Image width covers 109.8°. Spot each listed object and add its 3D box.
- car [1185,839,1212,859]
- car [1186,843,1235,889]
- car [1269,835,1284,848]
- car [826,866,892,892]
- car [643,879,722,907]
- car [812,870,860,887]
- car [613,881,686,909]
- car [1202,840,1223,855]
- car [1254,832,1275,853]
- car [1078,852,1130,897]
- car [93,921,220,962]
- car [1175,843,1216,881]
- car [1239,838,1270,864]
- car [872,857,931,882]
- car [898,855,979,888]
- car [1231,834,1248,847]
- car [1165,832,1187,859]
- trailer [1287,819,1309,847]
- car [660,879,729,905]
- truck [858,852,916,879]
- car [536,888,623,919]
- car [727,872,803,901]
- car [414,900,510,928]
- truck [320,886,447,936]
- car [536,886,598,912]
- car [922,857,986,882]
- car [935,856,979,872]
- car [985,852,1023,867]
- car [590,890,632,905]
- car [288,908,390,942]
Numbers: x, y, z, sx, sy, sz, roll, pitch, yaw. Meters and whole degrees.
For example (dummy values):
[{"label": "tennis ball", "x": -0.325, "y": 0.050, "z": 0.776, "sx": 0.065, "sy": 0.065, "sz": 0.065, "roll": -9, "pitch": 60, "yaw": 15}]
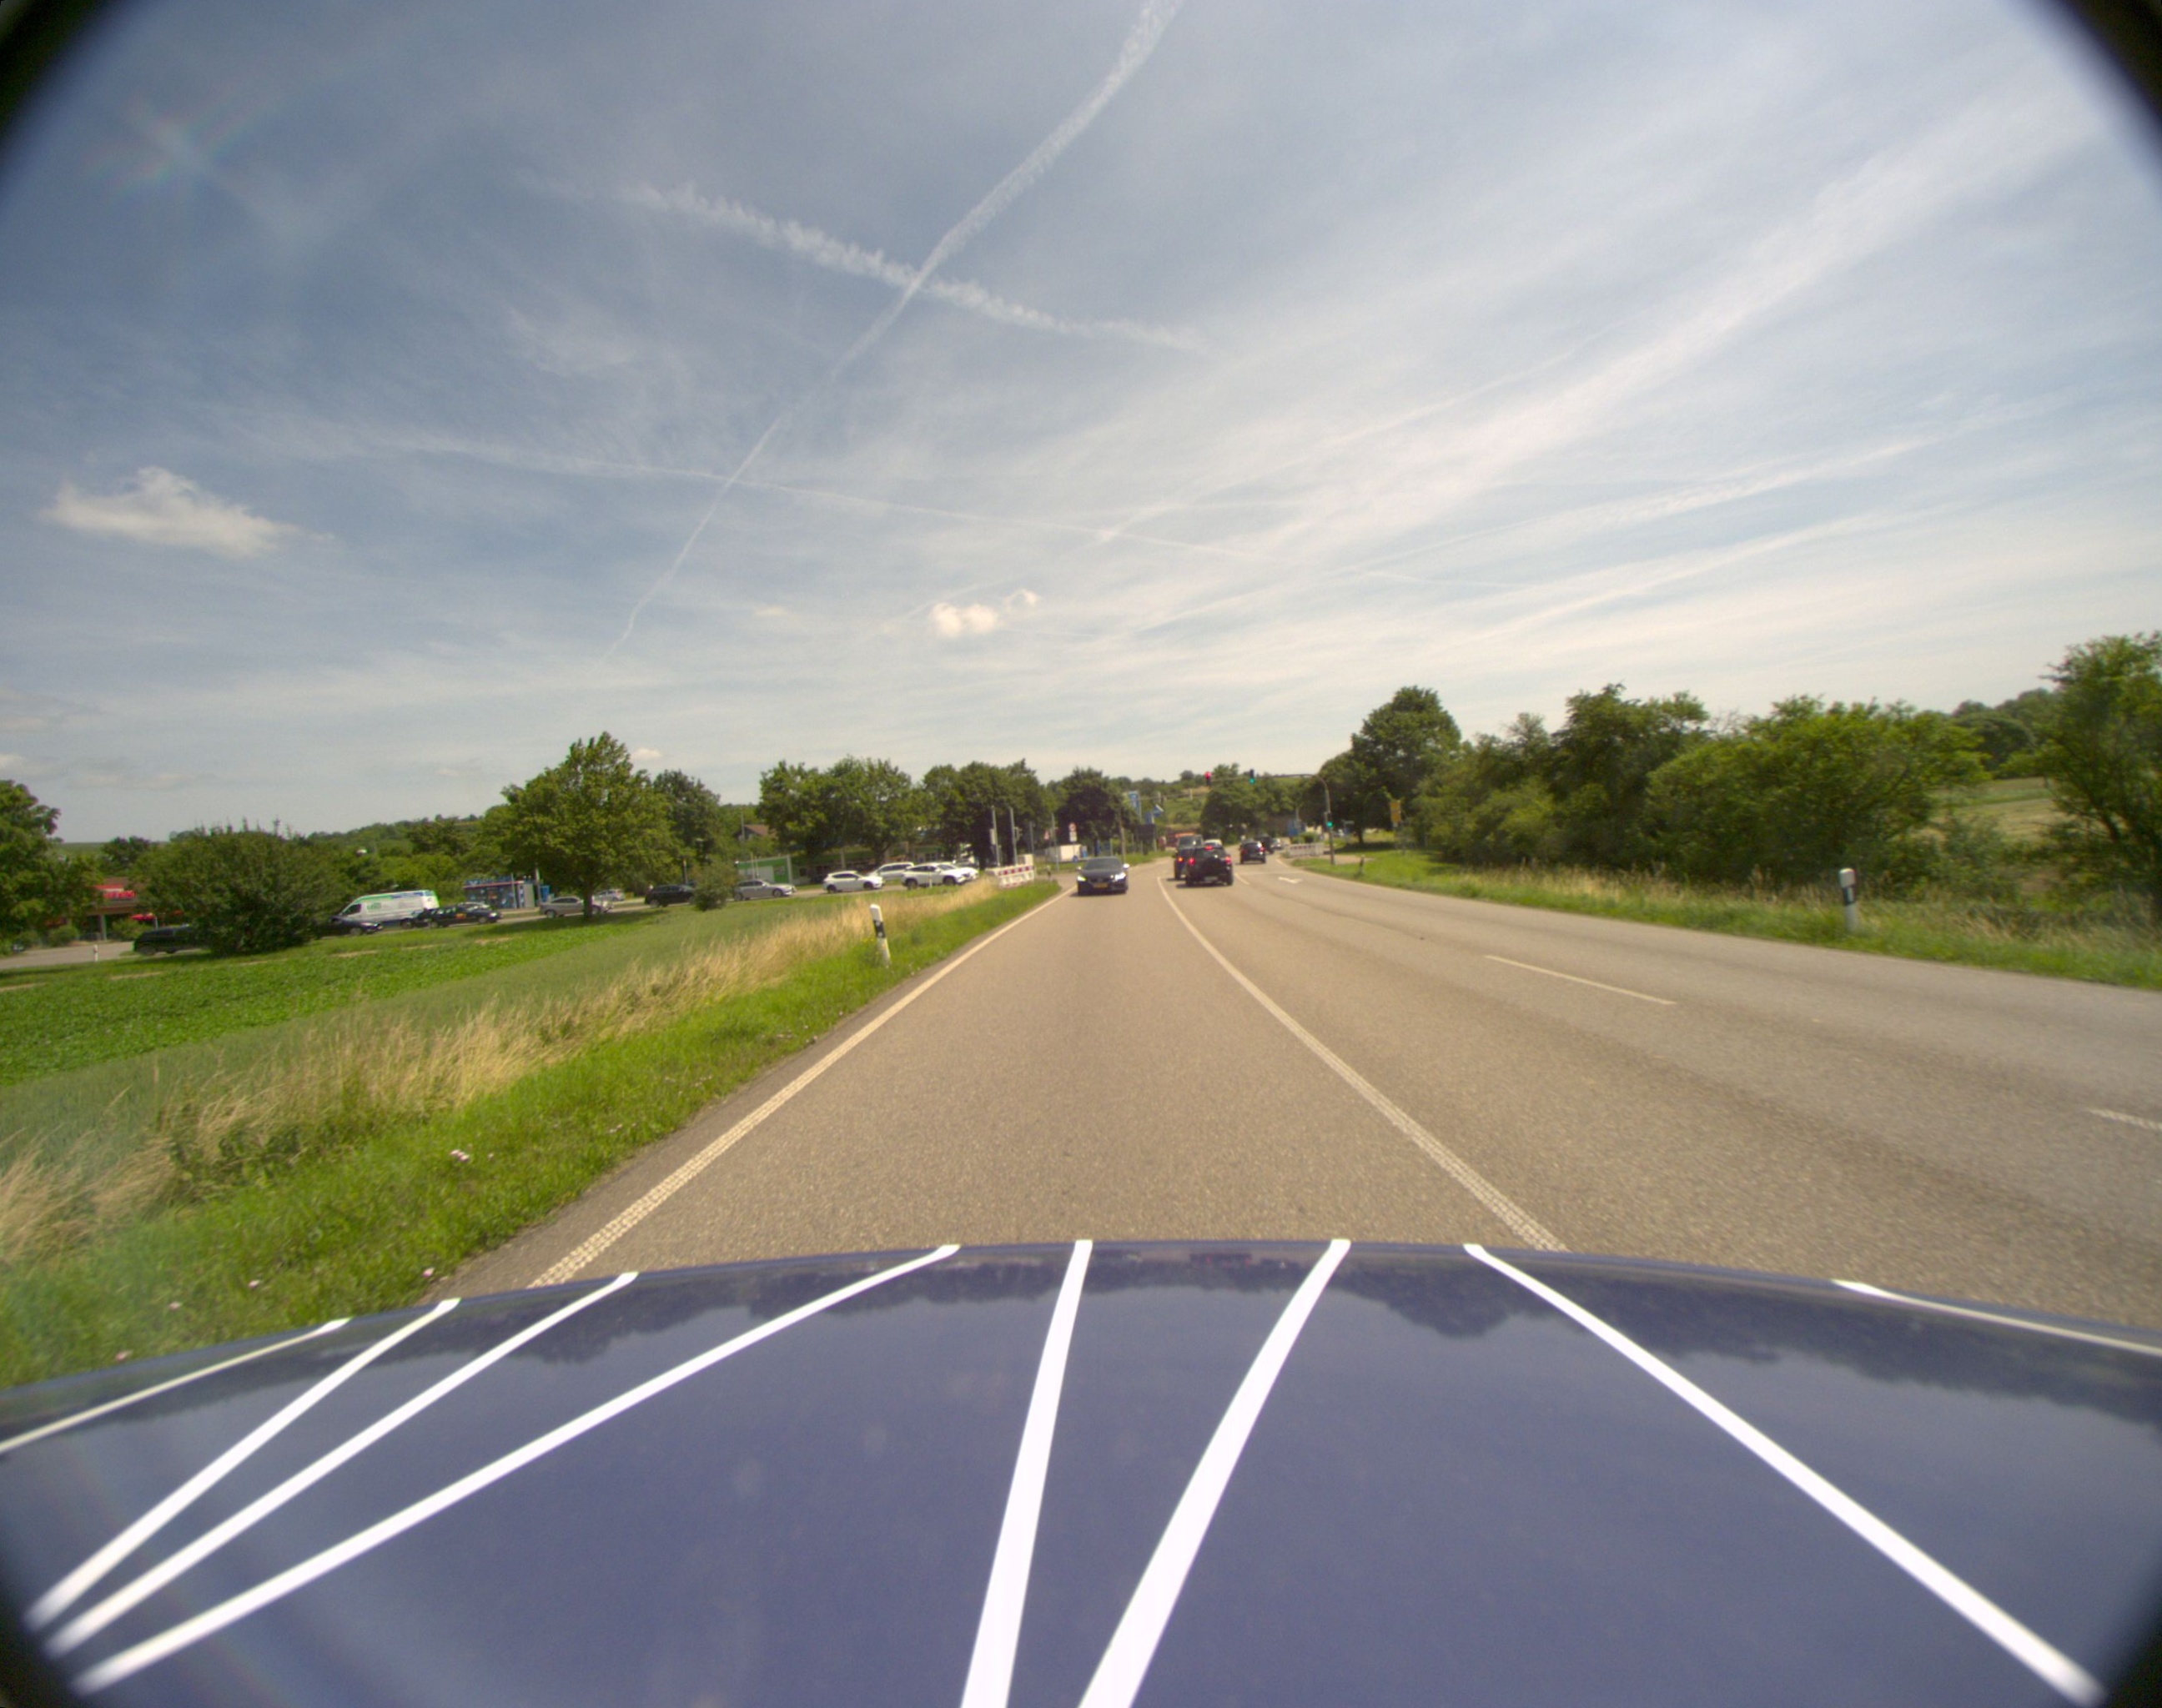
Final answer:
[{"label": "car", "x": 11.789, "y": -0.544, "z": 75.957, "sx": 1.807, "sy": 1.723, "sz": 4.004, "roll": -4, "pitch": 2, "yaw": 20}, {"label": "car", "x": 5.308, "y": 0.456, "z": 31.366, "sx": 1.774, "sy": 1.649, "sz": 4.002, "roll": -3, "pitch": 1, "yaw": 9}, {"label": "car", "x": 24.641, "y": -1.580, "z": 95.928, "sx": 1.773, "sy": 1.487, "sz": 4.003, "roll": -2, "pitch": 1, "yaw": 14}, {"label": "car", "x": -15.791, "y": 1.766, "z": 54.143, "sx": 4.102, "sy": 1.411, "sz": 1.800, "roll": -4, "pitch": 2, "yaw": 3}, {"label": "car", "x": -28.462, "y": 2.773, "z": 54.366, "sx": 4.560, "sy": 1.502, "sz": 1.799, "roll": -3, "pitch": 3, "yaw": -4}, {"label": "car", "x": -25.229, "y": 2.494, "z": 78.307, "sx": 4.326, "sy": 1.355, "sz": 1.755, "roll": -6, "pitch": 3, "yaw": -34}, {"label": "car", "x": -33.749, "y": 3.180, "z": 59.558, "sx": 4.529, "sy": 1.682, "sz": 1.863, "roll": -5, "pitch": 2, "yaw": -18}, {"label": "car", "x": 15.690, "y": -0.830, "z": 90.474, "sx": 1.781, "sy": 1.484, "sz": 4.161, "roll": -3, "pitch": 2, "yaw": 19}, {"label": "car", "x": 19.802, "y": -1.264, "z": 81.842, "sx": 1.997, "sy": 1.994, "sz": 5.168, "roll": -3, "pitch": 1, "yaw": 14}, {"label": "car", "x": 0.969, "y": 0.734, "z": 29.205, "sx": 1.782, "sy": 1.484, "sz": 4.158, "roll": -2, "pitch": 1, "yaw": 4}, {"label": "car", "x": -55.380, "y": 5.223, "z": 45.612, "sx": 4.294, "sy": 1.688, "sz": 1.996, "roll": -5, "pitch": 2, "yaw": -19}, {"label": "car", "x": 5.615, "y": 0.333, "z": 37.705, "sx": 1.774, "sy": 1.649, "sz": 4.001, "roll": -3, "pitch": 1, "yaw": 7}, {"label": "car", "x": 12.851, "y": -0.257, "z": 56.090, "sx": 1.996, "sy": 1.686, "sz": 4.003, "roll": -2, "pitch": 1, "yaw": 15}, {"label": "car", "x": -15.199, "y": 1.266, "z": 64.310, "sx": 4.531, "sy": 1.682, "sz": 1.863, "roll": -5, "pitch": 3, "yaw": -24}, {"label": "car", "x": -9.264, "y": 1.143, "z": 49.577, "sx": 4.633, "sy": 1.599, "sz": 1.999, "roll": -5, "pitch": 3, "yaw": 15}, {"label": "car", "x": 23.981, "y": -2.069, "z": 114.680, "sx": 1.807, "sy": 1.722, "sz": 4.005, "roll": -4, "pitch": 0, "yaw": 21}, {"label": "car", "x": 9.708, "y": -0.883, "z": 77.859, "sx": 1.980, "sy": 2.505, "sz": 4.158, "roll": -4, "pitch": 2, "yaw": 6}, {"label": "trailer", "x": 34.206, "y": -3.266, "z": 119.249, "sx": 2.570, "sy": 4.007, "sz": 13.609, "roll": -3, "pitch": 1, "yaw": 18}, {"label": "car", "x": -29.609, "y": 2.900, "z": 58.336, "sx": 4.390, "sy": 1.549, "sz": 1.782, "roll": -5, "pitch": 1, "yaw": -16}, {"label": "truck", "x": -22.721, "y": 1.320, "z": 89.303, "sx": 2.257, "sy": 2.603, "sz": 6.159, "roll": -3, "pitch": 2, "yaw": 42}, {"label": "car", "x": -34.695, "y": 3.401, "z": 52.654, "sx": 4.563, "sy": 1.502, "sz": 1.798, "roll": -5, "pitch": 2, "yaw": -14}, {"label": "car", "x": -22.598, "y": 2.339, "z": 54.510, "sx": 4.560, "sy": 1.502, "sz": 1.799, "roll": -5, "pitch": 4, "yaw": -4}, {"label": "car", "x": -41.493, "y": 4.002, "z": 51.063, "sx": 4.565, "sy": 1.266, "sz": 1.798, "roll": -5, "pitch": 2, "yaw": -19}, {"label": "truck", "x": -48.103, "y": 3.882, "z": 52.559, "sx": 5.947, "sy": 2.722, "sz": 2.069, "roll": -4, "pitch": 3, "yaw": -19}, {"label": "car", "x": -45.678, "y": 3.999, "z": 67.612, "sx": 4.002, "sy": 1.814, "sz": 1.820, "roll": -5, "pitch": 2, "yaw": -16}, {"label": "car", "x": -8.946, "y": 1.108, "z": 53.808, "sx": 3.966, "sy": 1.411, "sz": 1.829, "roll": -4, "pitch": 2, "yaw": 14}, {"label": "car", "x": -14.994, "y": 1.201, "z": 91.816, "sx": 2.033, "sy": 1.594, "sz": 4.948, "roll": -2, "pitch": 3, "yaw": 43}, {"label": "car", "x": -9.854, "y": 0.701, "z": 97.482, "sx": 1.994, "sy": 1.613, "sz": 4.637, "roll": -2, "pitch": 3, "yaw": 43}, {"label": "car", "x": -56.647, "y": 5.252, "z": 91.661, "sx": 3.843, "sy": 1.372, "sz": 1.726, "roll": -5, "pitch": 1, "yaw": -16}, {"label": "car", "x": -47.644, "y": 4.553, "z": 48.890, "sx": 4.236, "sy": 1.502, "sz": 1.797, "roll": -5, "pitch": 2, "yaw": -22}]
